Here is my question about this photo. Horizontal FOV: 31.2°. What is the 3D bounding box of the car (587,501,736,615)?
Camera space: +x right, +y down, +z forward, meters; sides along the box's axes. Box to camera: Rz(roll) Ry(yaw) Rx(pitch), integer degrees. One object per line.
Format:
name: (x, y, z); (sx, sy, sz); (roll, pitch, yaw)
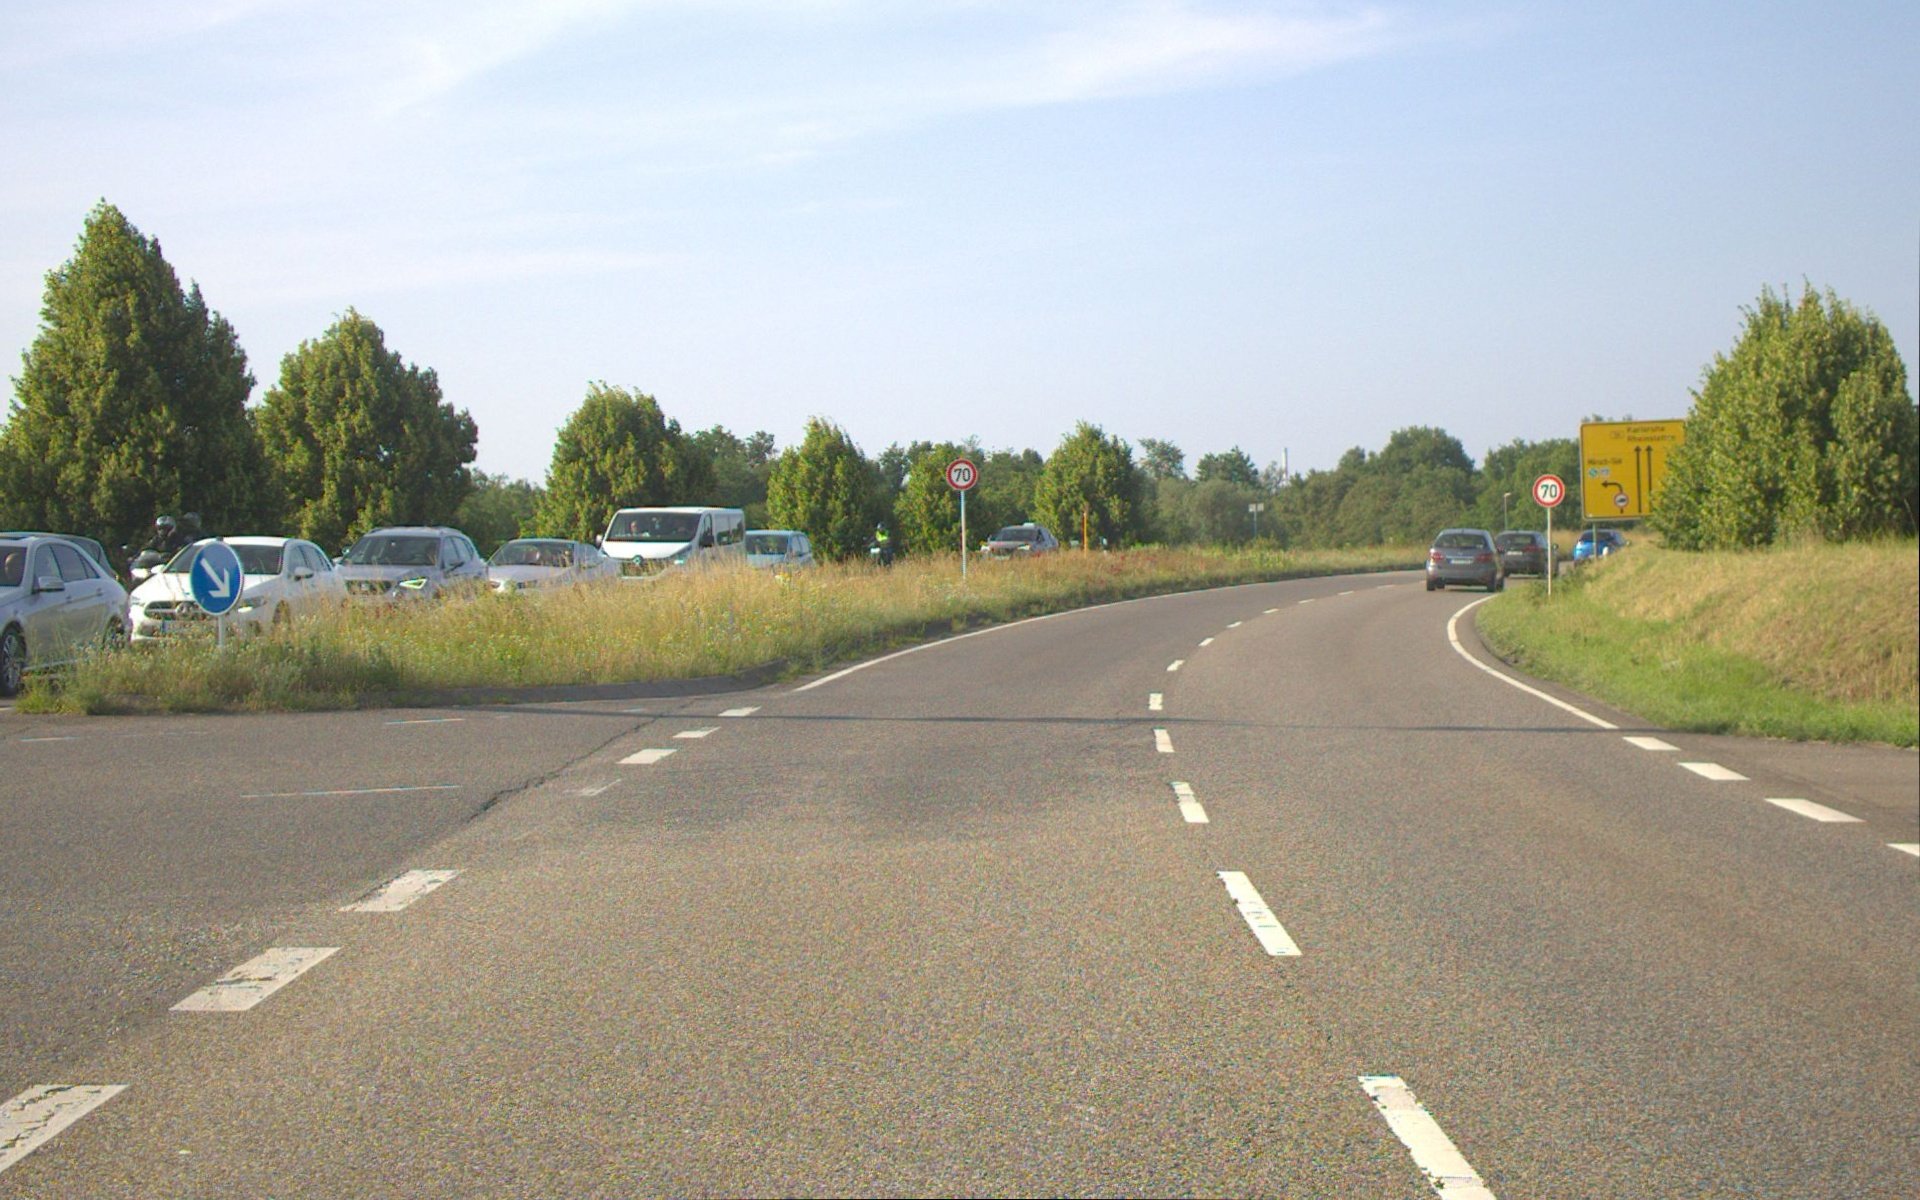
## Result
car: (-5.594, -0.806, 64.960); (1.926, 2.071, 4.242); (-1, 1, 7)

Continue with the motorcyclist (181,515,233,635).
motorcyclist: (-11.481, -0.387, 52.414); (0.662, 1.810, 0.605); (-1, 1, -3)

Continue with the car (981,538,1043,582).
car: (1.728, -1.335, 113.324); (1.406, 1.397, 3.420); (0, 1, 11)

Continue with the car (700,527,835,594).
car: (-4.067, -0.851, 73.175); (1.787, 1.381, 4.049); (0, 1, 13)

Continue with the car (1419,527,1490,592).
car: (12.814, -1.033, 89.157); (1.785, 1.600, 4.194); (0, 0, 8)

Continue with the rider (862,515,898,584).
rider: (-2.351, -1.491, 101.205); (0.868, 2.007, 0.771); (0, 1, 15)

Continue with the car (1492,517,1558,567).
car: (17.790, -1.814, 108.084); (1.811, 1.560, 4.528); (0, 1, 12)

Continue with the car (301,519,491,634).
car: (-8.023, -0.358, 49.223); (1.786, 1.563, 4.051); (-1, 1, 4)

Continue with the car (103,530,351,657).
car: (-8.718, -0.108, 41.236); (1.786, 1.428, 4.308); (-1, 1, 4)

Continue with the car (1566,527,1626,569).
car: (23.219, -1.911, 125.375); (1.774, 1.487, 3.982); (0, 1, 16)

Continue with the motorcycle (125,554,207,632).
motorcycle: (-11.348, -0.112, 49.164); (0.873, 1.093, 1.469); (-1, 1, -2)

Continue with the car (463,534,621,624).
car: (-6.715, -0.361, 55.603); (1.786, 1.381, 4.051); (-1, 1, 4)

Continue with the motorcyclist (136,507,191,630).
motorcyclist: (-11.401, -0.449, 49.223); (0.662, 1.741, 0.605); (-1, 1, -3)

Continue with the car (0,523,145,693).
car: (-9.186, 0.047, 32.045); (1.786, 1.483, 4.651); (-1, 1, 4)
